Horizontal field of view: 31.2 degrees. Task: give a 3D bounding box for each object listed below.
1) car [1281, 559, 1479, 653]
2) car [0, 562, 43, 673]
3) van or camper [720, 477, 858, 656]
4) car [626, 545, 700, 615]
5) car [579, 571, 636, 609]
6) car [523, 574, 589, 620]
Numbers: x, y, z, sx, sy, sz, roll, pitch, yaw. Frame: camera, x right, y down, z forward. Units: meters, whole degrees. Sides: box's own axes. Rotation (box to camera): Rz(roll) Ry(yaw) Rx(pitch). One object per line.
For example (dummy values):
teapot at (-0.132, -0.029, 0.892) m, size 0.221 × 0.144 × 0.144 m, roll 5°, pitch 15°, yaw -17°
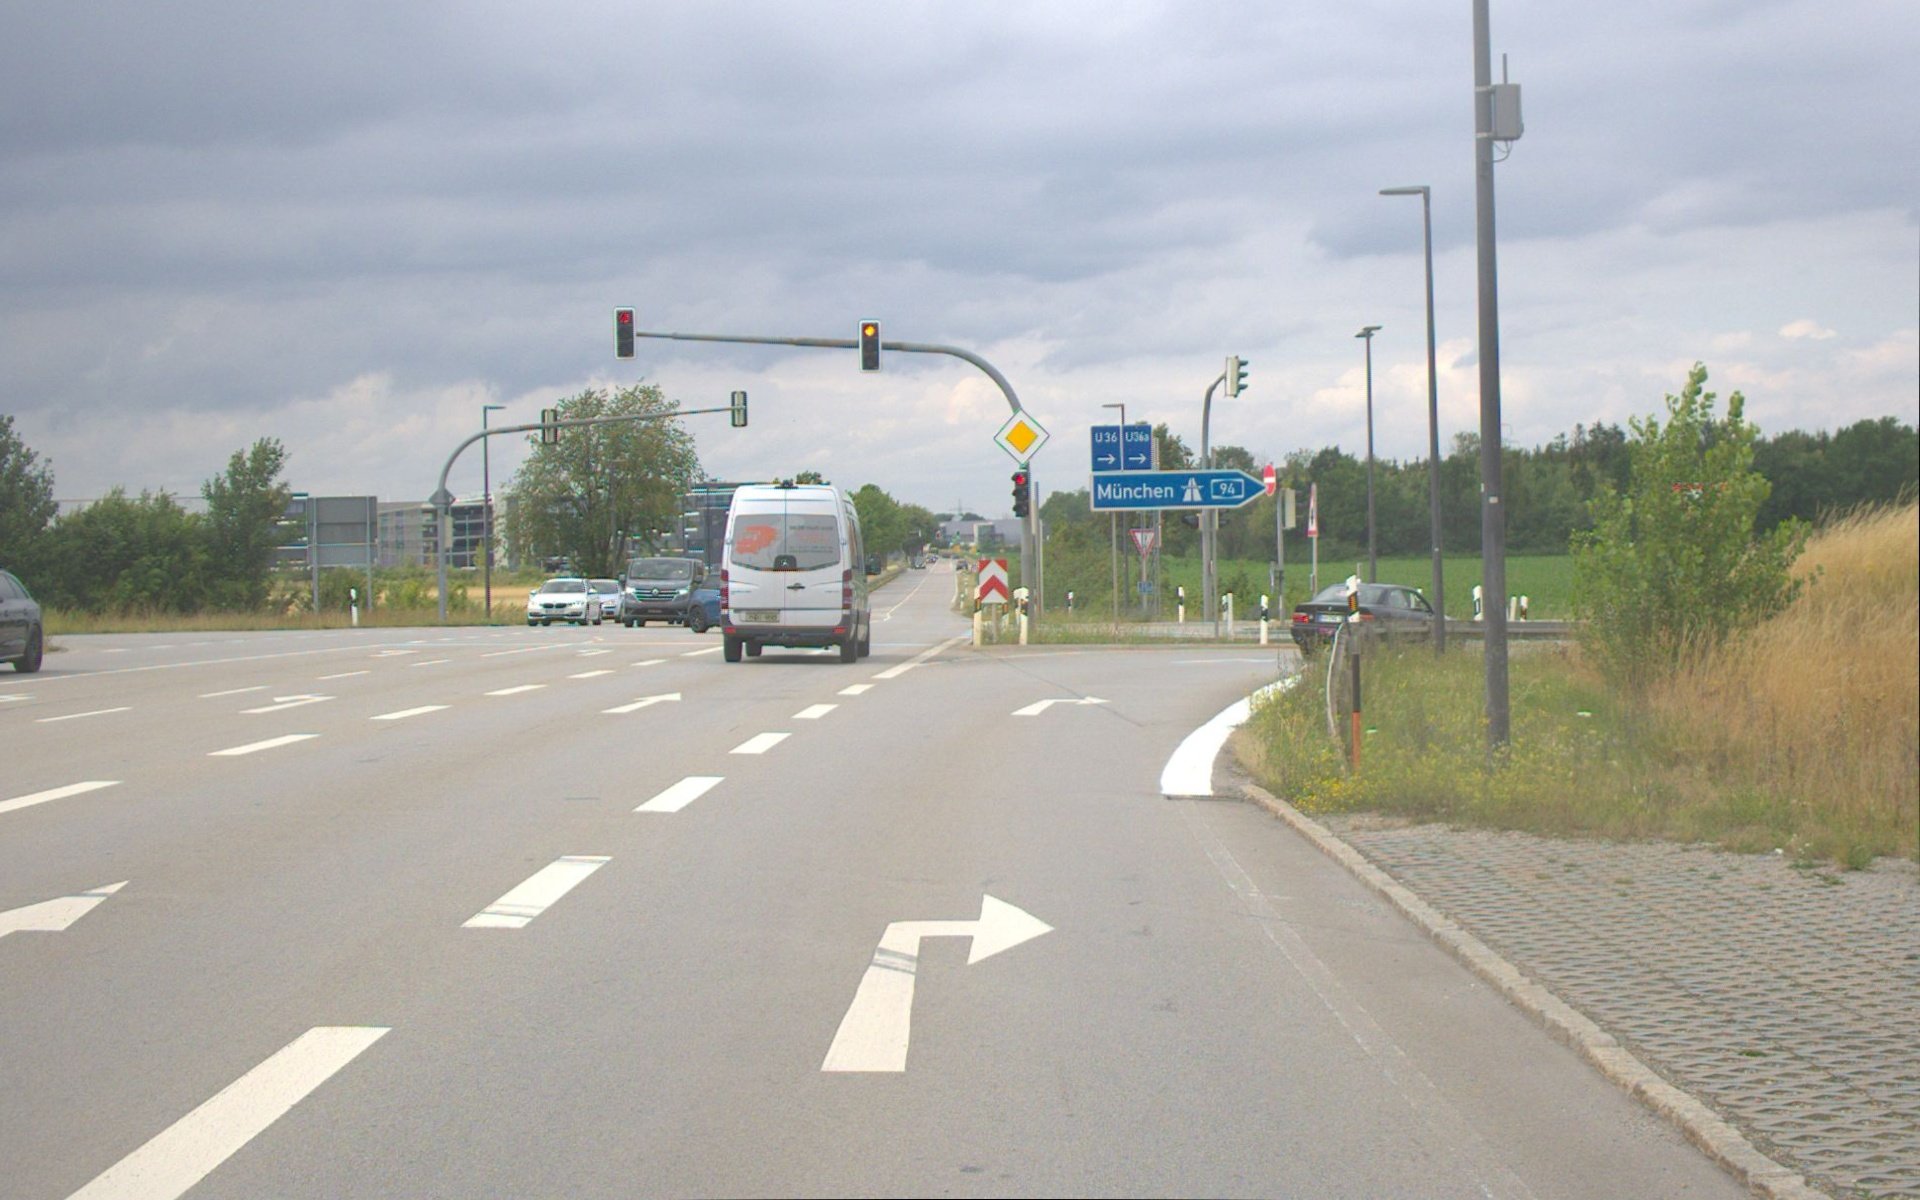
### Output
car at (7.135, 0.089, 58.187) m, size 1.522 × 1.480 × 3.607 m, roll 0°, pitch 1°, yaw 42°
car at (-13.268, 0.244, 44.158) m, size 1.844 × 1.420 × 3.909 m, roll -1°, pitch 0°, yaw 1°
van or camper at (-2.528, -0.526, 51.640) m, size 1.876 × 2.572 × 4.000 m, roll 0°, pitch 1°, yaw 0°
car at (-8.181, -0.565, 95.021) m, size 1.638 × 1.845 × 3.749 m, roll -1°, pitch 1°, yaw 1°
car at (-11.696, -0.327, 114.223) m, size 1.480 × 1.174 × 3.534 m, roll -1°, pitch 1°, yaw 1°
car at (-12.169, -0.102, 103.704) m, size 1.480 × 1.278 × 3.534 m, roll -1°, pitch 1°, yaw 1°
